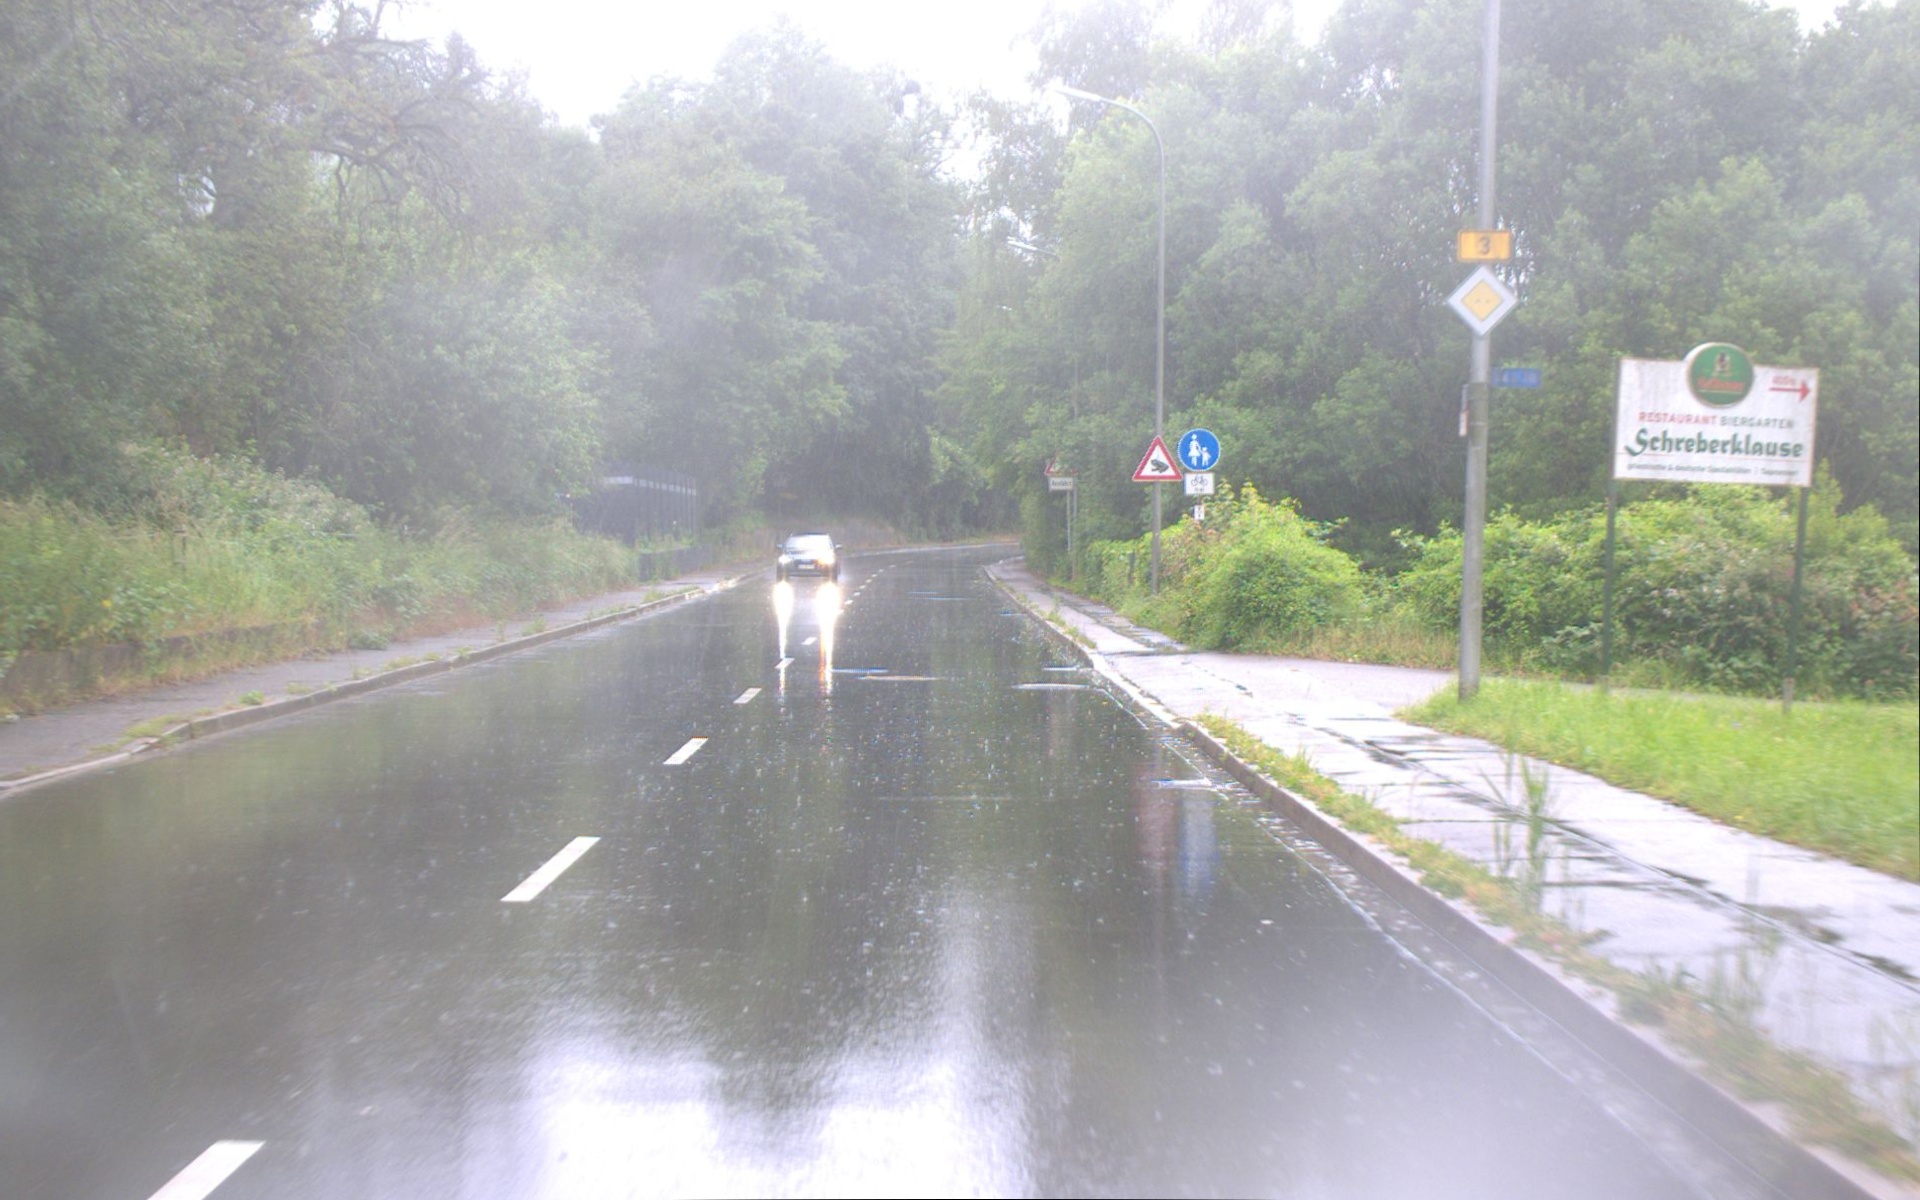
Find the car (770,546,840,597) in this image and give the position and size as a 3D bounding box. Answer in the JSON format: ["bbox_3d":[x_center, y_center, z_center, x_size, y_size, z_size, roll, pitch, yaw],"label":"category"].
[{"bbox_3d":[-4.798,-0.906,106.867,1.993,1.449,4.428,1,2,0],"label":"car"}]
